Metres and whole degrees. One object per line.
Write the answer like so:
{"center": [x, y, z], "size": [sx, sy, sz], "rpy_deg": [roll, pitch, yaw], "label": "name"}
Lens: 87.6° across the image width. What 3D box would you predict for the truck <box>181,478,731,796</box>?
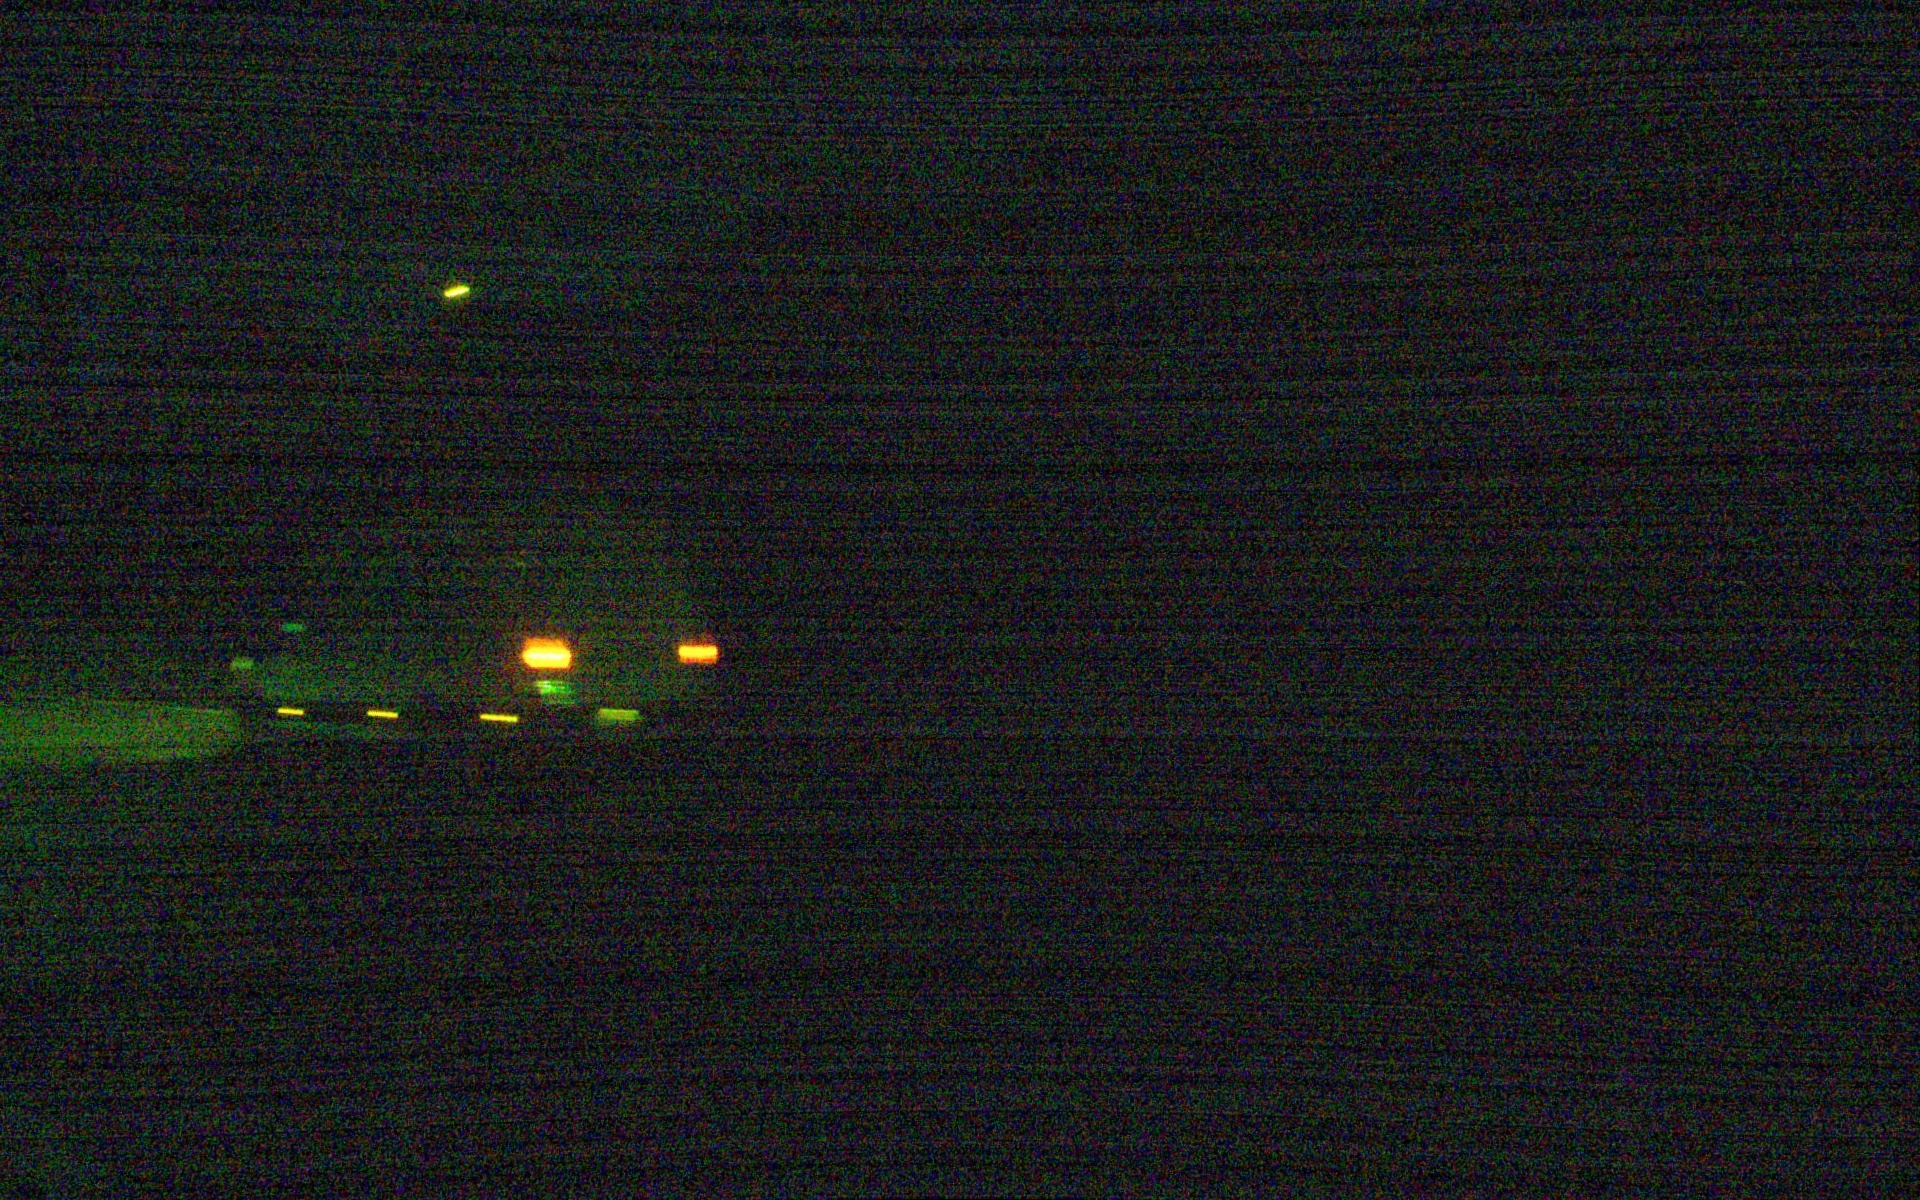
{"center": [-5.966, 0.426, 11.338], "size": [7.202, 2.725, 2.074], "rpy_deg": [-1, -2, 31], "label": "truck"}
